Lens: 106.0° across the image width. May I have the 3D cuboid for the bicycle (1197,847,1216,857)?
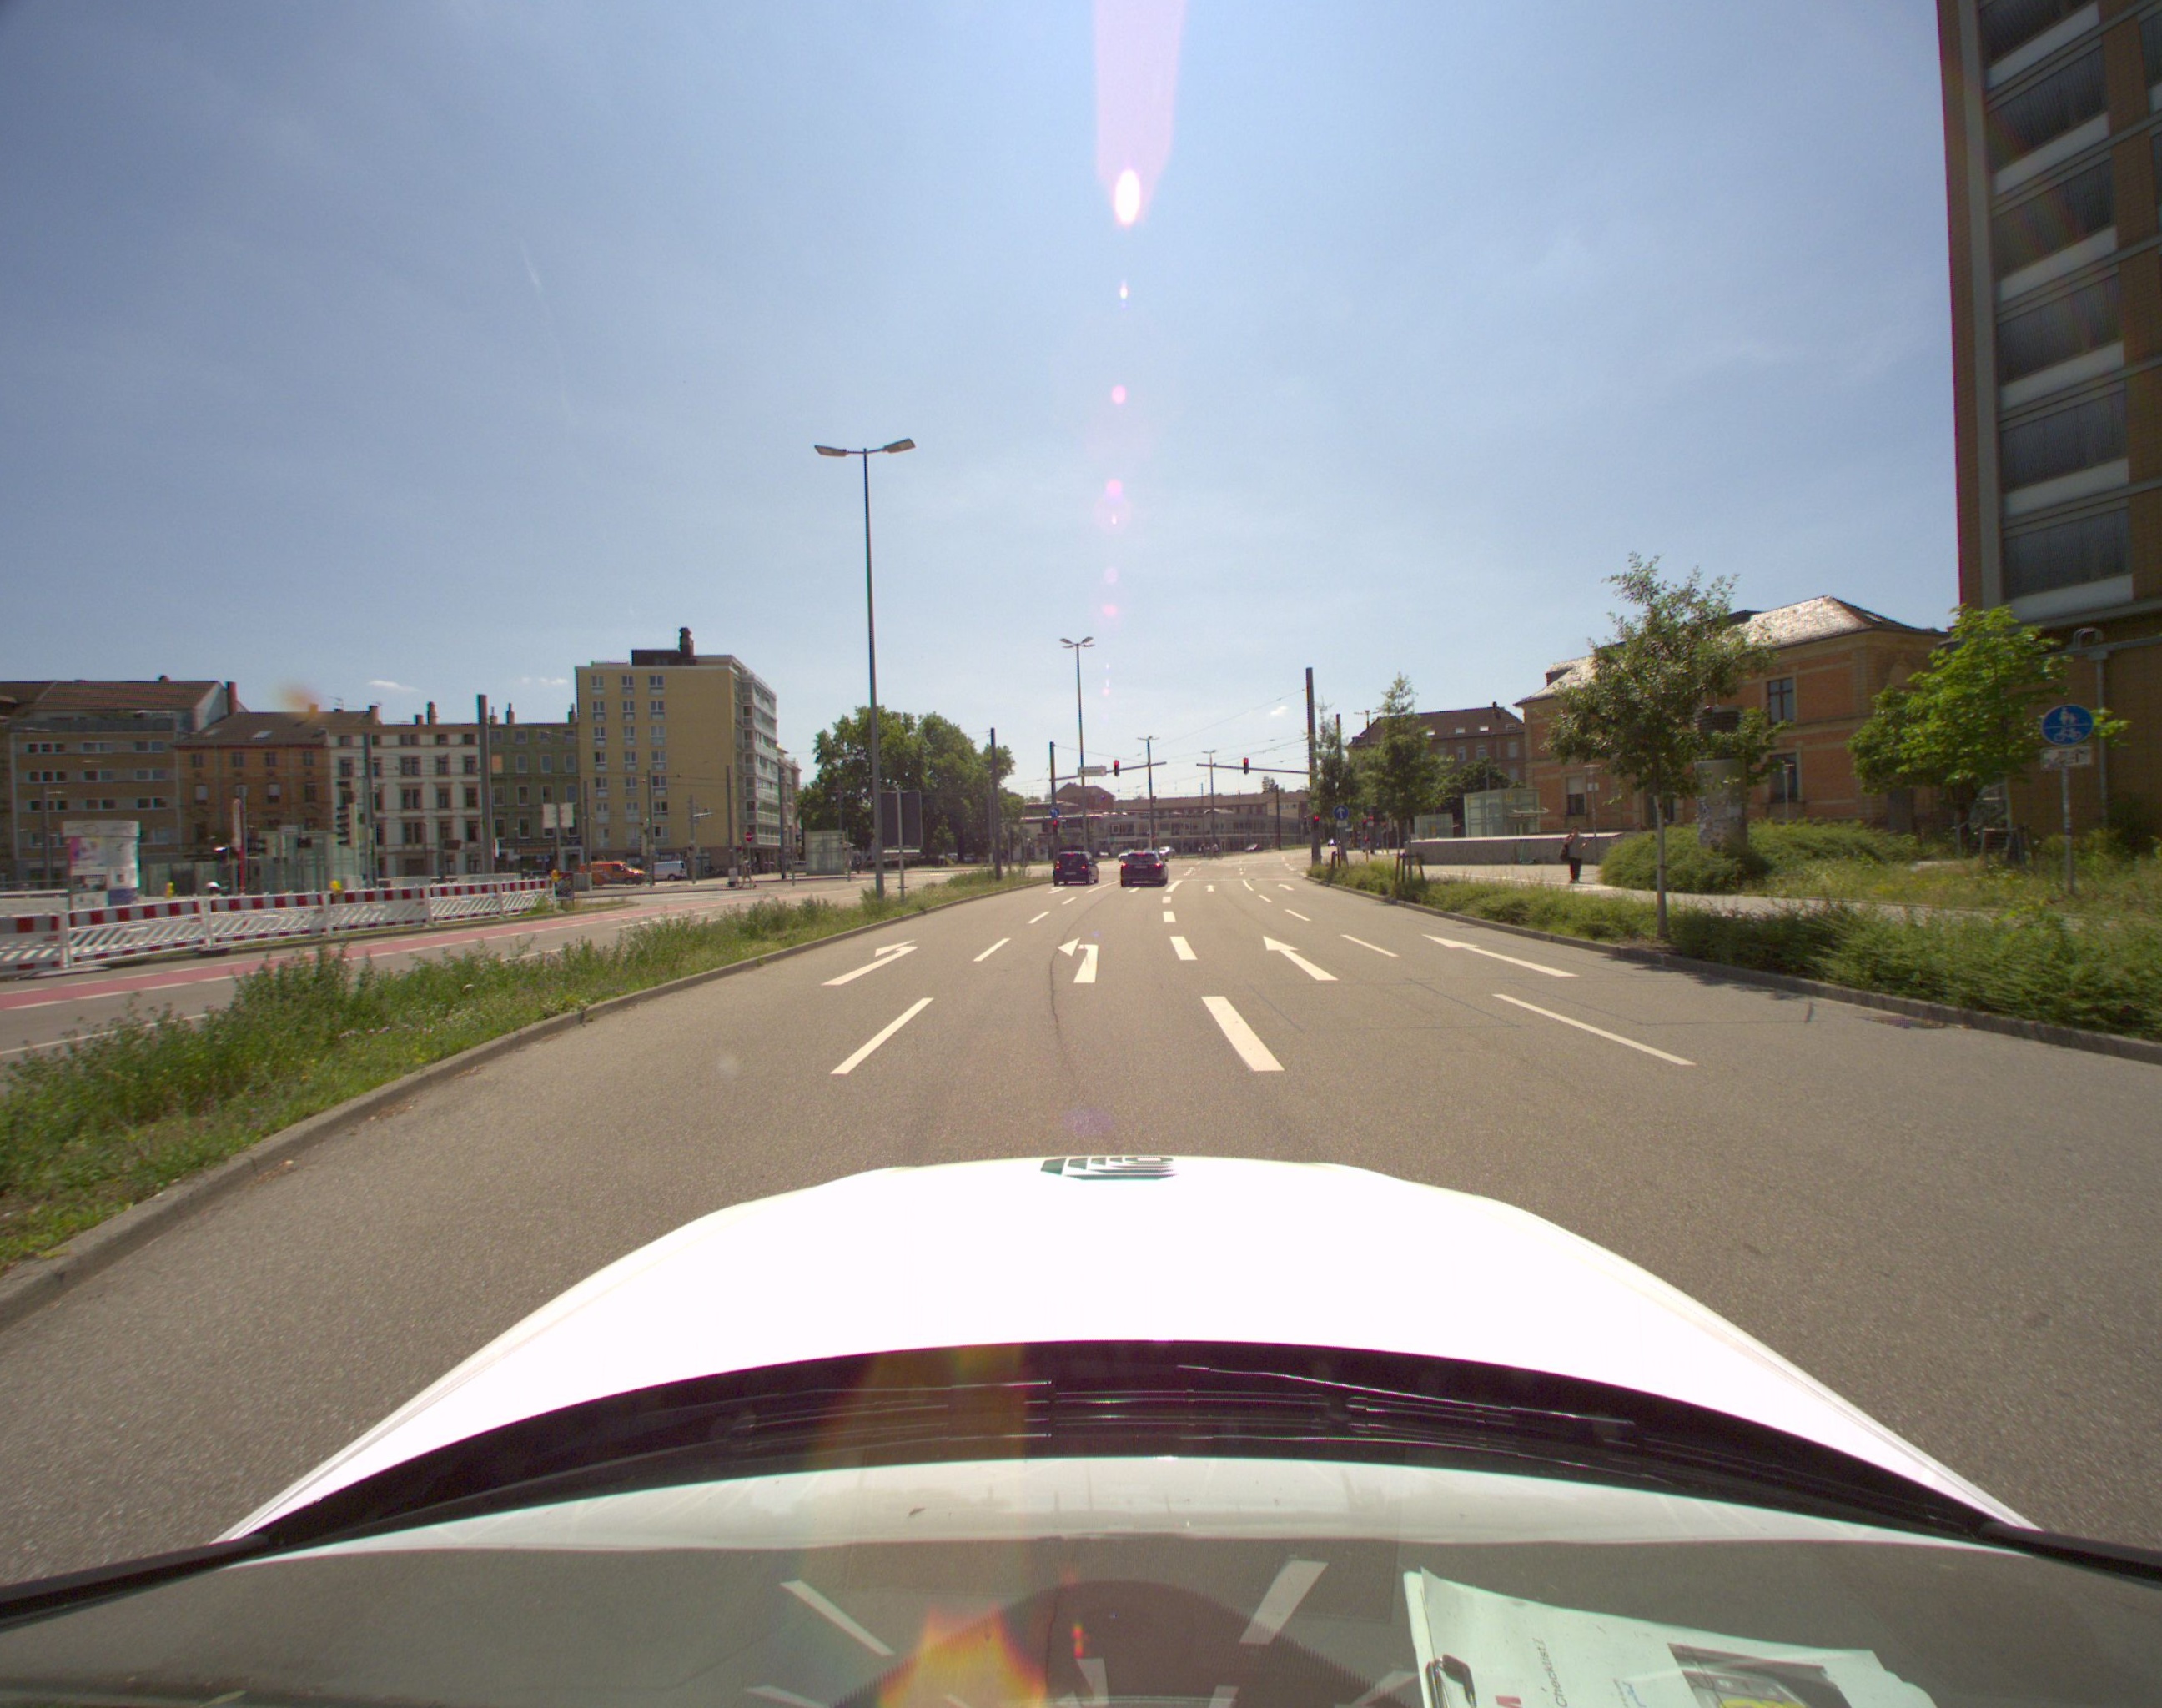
[{"bbox_3d":[14.375,-0.240,93.324,2.160,1.107,0.455,-2,2,-9],"label":"bicycle"}]

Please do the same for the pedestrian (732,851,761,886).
[{"bbox_3d":[-19.181,0.838,46.734,1.174,1.933,0.903,-2,2,2],"label":"pedestrian"}]

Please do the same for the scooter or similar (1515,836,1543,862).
[{"bbox_3d":[20.660,-0.245,37.563,0.397,1.167,1.284,-2,2,-13],"label":"scooter or similar"}]

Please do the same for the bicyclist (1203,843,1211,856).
[{"bbox_3d":[14.401,-0.545,93.332,0.732,1.479,0.654,-2,2,-10],"label":"bicyclist"}]

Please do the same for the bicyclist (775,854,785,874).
[{"bbox_3d":[-33.961,1.124,91.895,0.742,2.105,0.767,-3,3,-39],"label":"bicyclist"}]

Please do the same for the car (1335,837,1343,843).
[{"bbox_3d":[68.742,-3.702,217.211,1.576,1.528,3.726,-1,2,9],"label":"car"}]

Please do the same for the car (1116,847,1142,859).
[{"bbox_3d":[5.890,-0.157,99.929,1.604,1.390,4.149,-2,0,26],"label":"car"}]

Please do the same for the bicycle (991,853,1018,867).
[{"bbox_3d":[-8.331,0.655,88.426,2.764,1.385,0.671,-2,2,1],"label":"bicycle"}]

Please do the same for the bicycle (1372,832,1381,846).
[{"bbox_3d":[40.021,-1.992,110.317,0.608,1.788,3.190,-1,2,10],"label":"bicycle"}]

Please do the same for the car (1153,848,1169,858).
[{"bbox_3d":[10.985,-0.141,111.662,1.419,1.285,3.279,-1,2,21],"label":"car"}]

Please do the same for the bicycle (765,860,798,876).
[{"bbox_3d":[-33.857,1.561,91.985,3.340,1.595,0.810,-3,3,-38],"label":"bicycle"}]

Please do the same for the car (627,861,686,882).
[{"bbox_3d":[-38.559,1.538,74.123,4.308,1.626,1.808,-2,2,-11],"label":"car"}]

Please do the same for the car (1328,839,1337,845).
[{"bbox_3d":[60.595,-2.885,196.242,1.522,1.458,3.562,-1,2,9],"label":"car"}]

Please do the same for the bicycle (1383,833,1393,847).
[{"bbox_3d":[41.417,-1.945,110.020,0.608,1.788,3.190,-1,2,10],"label":"bicycle"}]

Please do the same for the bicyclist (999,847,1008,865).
[{"bbox_3d":[-8.404,0.226,88.411,0.843,1.965,0.627,-2,2,1],"label":"bicyclist"}]

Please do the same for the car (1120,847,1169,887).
[{"bbox_3d":[2.812,0.519,35.411,1.707,1.556,4.598,-2,0,9],"label":"car"}]

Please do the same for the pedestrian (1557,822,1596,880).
[{"bbox_3d":[14.719,-0.094,24.207,0.727,1.706,0.813,-1,1,10],"label":"pedestrian"}]

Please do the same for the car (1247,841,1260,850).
[{"bbox_3d":[30.009,-1.427,141.604,1.556,1.427,3.635,-1,3,25],"label":"car"}]

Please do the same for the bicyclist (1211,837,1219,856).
[{"bbox_3d":[14.095,-0.830,85.744,0.759,1.937,0.661,-1,2,7],"label":"bicyclist"}]

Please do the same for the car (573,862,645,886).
[{"bbox_3d":[-37.868,1.582,65.428,4.617,1.613,1.673,-2,2,-6],"label":"car"}]

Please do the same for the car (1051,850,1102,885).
[{"bbox_3d":[-0.147,0.566,36.852,1.611,1.463,4.010,-2,0,9],"label":"car"}]

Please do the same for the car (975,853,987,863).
[{"bbox_3d":[-17.229,0.687,140.690,1.503,1.418,3.425,-2,2,3],"label":"car"}]

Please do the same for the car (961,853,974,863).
[{"bbox_3d":[-19.724,0.747,141.548,1.418,1.508,3.442,-2,2,3],"label":"car"}]

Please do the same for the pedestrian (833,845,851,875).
[{"bbox_3d":[-23.673,0.602,80.723,1.208,2.937,1.339,-1,2,6],"label":"pedestrian"}]

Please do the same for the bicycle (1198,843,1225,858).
[{"bbox_3d":[13.732,-0.398,85.806,2.810,1.463,0.635,-1,2,7],"label":"bicycle"}]

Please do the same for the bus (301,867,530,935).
[{"bbox_3d":[-17.771,1.160,22.251,1.239,1.249,5.825,-2,2,2],"label":"bus"}]
